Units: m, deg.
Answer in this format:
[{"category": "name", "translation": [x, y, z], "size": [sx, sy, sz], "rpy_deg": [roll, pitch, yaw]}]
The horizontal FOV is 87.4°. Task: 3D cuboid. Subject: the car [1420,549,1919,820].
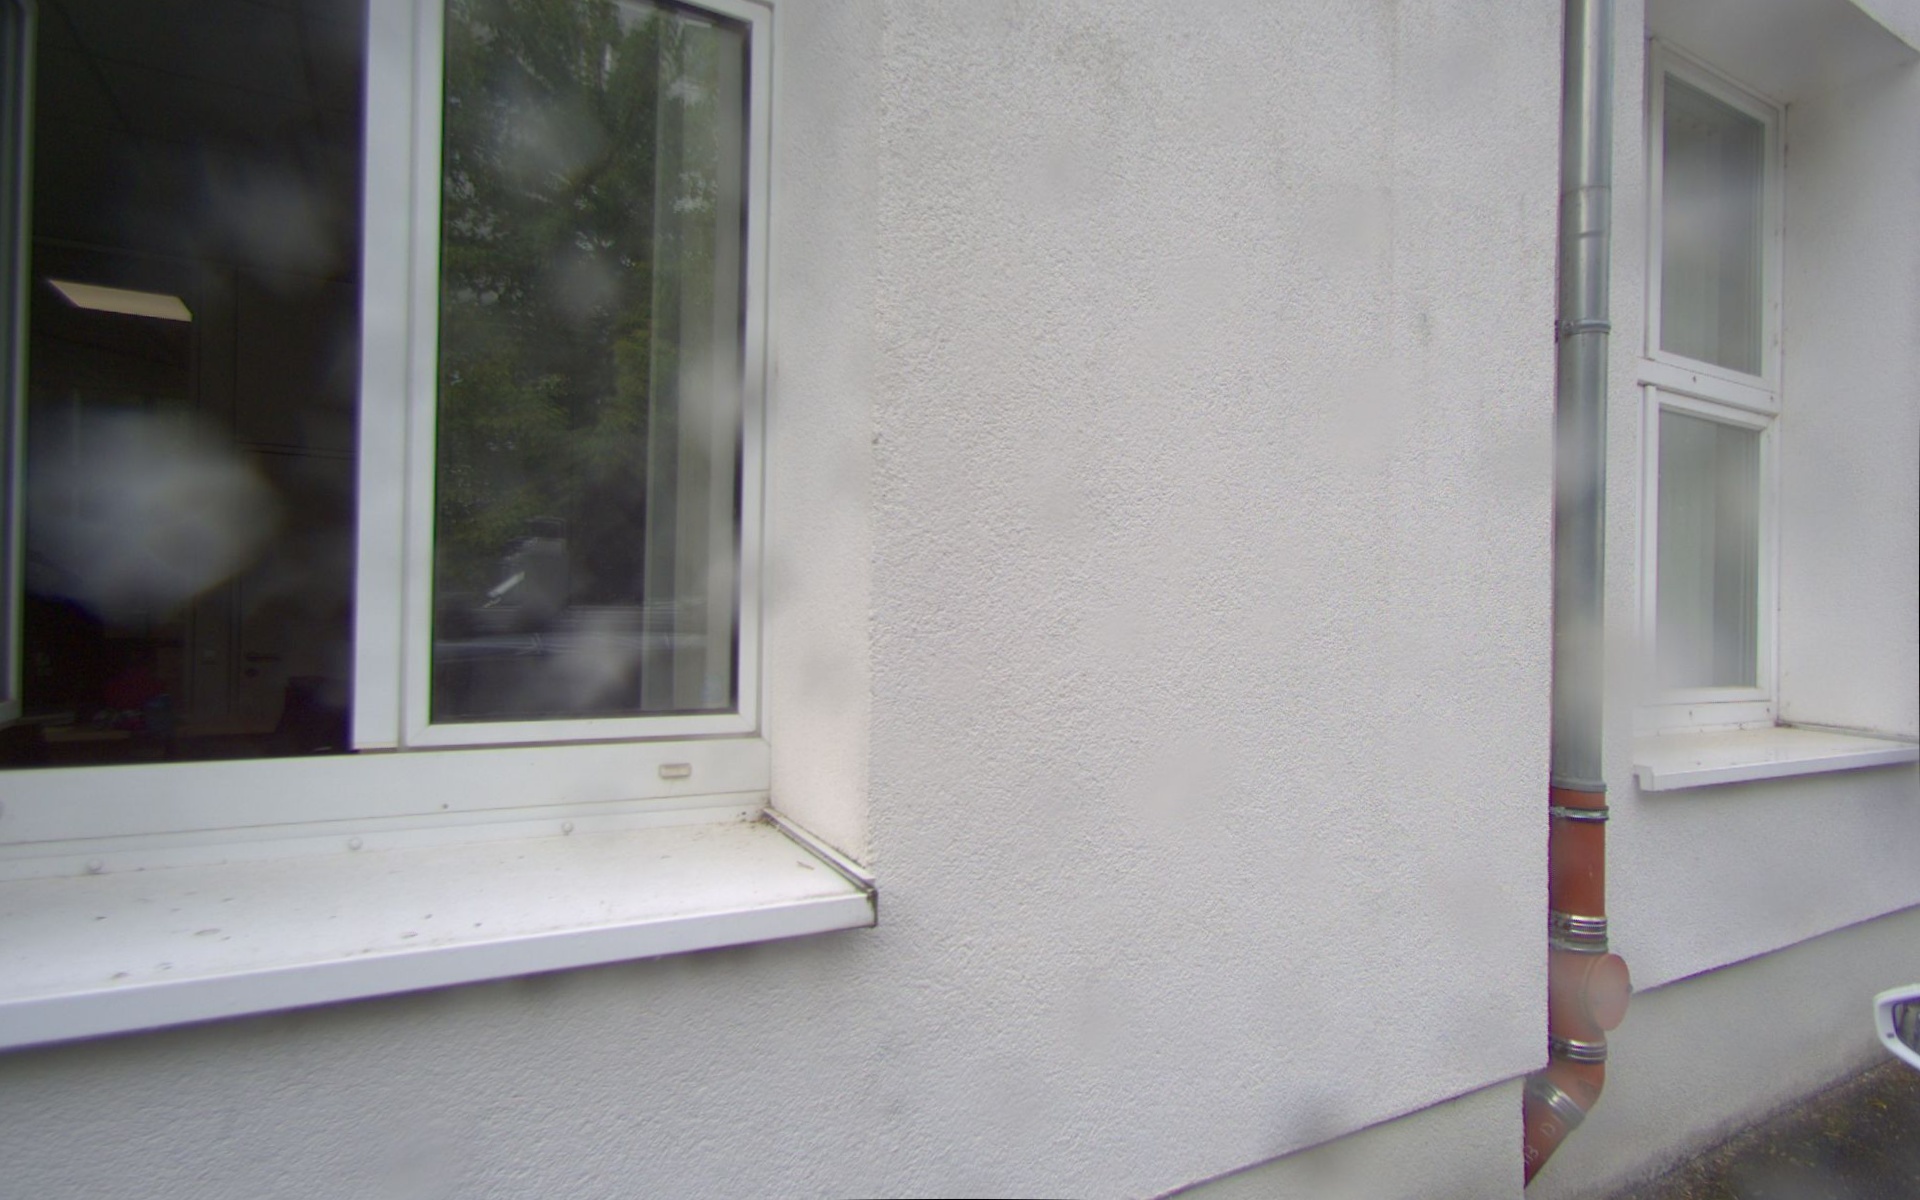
[{"category": "car", "translation": [7.210, 0.632, 9.748], "size": [2.060, 2.040, 4.668], "rpy_deg": [1, 0, -29]}]
